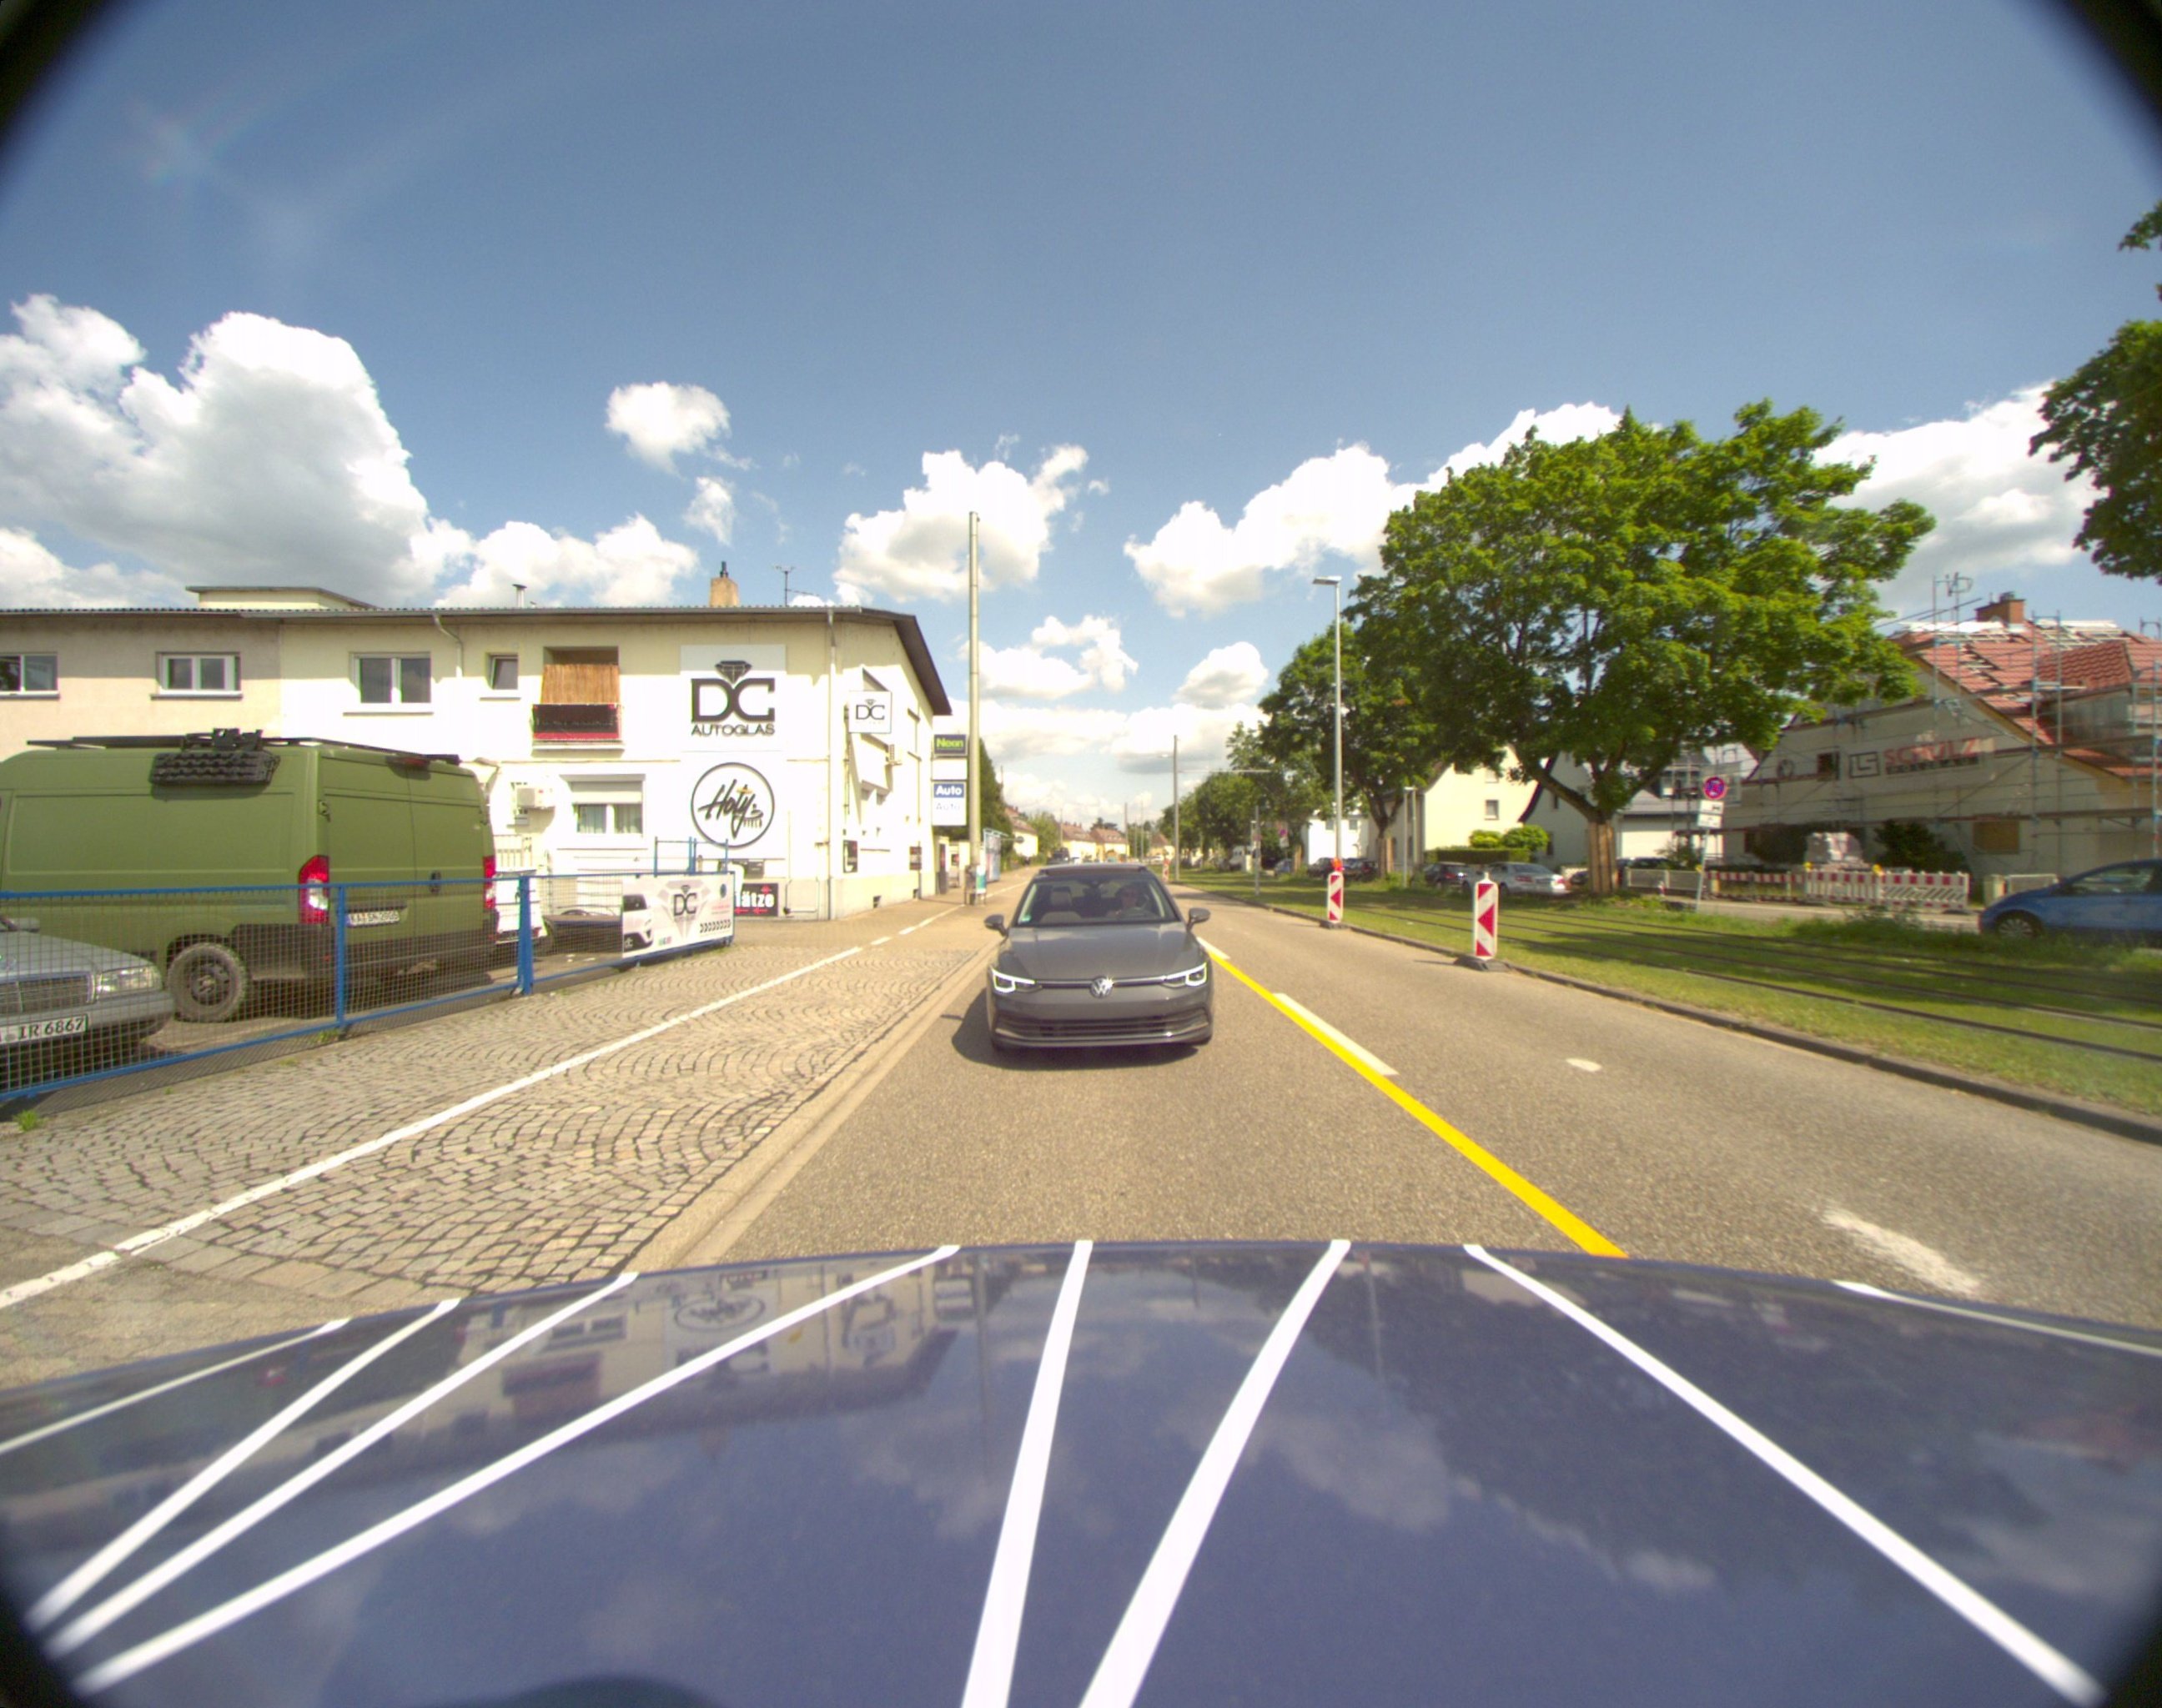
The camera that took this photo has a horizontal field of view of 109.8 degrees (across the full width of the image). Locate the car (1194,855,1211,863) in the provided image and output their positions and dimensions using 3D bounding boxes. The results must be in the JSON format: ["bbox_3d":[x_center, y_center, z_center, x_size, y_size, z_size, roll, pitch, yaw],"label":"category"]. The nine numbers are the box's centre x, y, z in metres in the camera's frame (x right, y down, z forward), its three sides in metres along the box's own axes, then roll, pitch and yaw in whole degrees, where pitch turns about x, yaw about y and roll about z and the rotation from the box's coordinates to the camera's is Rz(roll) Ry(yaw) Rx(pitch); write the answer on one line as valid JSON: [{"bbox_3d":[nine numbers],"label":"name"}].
[{"bbox_3d":[17.163,0.646,107.197,1.785,1.087,3.836,1,1,0],"label":"car"}]

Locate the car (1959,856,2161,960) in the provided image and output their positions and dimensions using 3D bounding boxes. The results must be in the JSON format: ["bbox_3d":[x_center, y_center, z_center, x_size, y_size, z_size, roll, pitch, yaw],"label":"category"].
[{"bbox_3d":[16.365,0.789,11.272,1.999,1.445,3.999,0,1,-1],"label":"car"}]

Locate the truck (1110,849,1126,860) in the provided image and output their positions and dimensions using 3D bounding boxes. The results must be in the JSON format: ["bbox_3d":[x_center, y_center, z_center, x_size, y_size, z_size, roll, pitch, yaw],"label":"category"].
[{"bbox_3d":[9.821,0.139,201.160,2.529,2.931,7.869,1,1,14],"label":"truck"}]

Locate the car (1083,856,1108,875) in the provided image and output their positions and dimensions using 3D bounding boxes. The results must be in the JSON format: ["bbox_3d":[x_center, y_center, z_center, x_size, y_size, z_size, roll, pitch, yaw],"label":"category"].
[{"bbox_3d":[1.241,0.952,64.616,1.998,1.566,4.001,0,0,3],"label":"car"}]

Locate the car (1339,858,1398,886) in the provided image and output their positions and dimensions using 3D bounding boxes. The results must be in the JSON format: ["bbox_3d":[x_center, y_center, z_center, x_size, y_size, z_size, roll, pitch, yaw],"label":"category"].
[{"bbox_3d":[16.920,1.025,44.933,1.998,1.430,3.999,1,1,0],"label":"car"}]

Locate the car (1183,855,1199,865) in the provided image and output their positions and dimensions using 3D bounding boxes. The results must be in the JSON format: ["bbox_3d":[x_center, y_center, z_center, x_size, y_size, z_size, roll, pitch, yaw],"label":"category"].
[{"bbox_3d":[17.775,1.001,122.856,1.910,1.568,4.102,3,-1,2],"label":"car"}]

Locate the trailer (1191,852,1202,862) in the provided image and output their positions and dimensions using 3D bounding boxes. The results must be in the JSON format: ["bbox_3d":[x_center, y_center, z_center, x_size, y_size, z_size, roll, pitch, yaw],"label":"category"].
[{"bbox_3d":[17.168,0.469,112.697,1.302,1.510,2.282,1,0,0],"label":"trailer"}]

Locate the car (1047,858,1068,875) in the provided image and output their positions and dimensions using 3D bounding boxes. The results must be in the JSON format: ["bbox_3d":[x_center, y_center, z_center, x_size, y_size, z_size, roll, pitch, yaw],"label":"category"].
[{"bbox_3d":[-2.179,1.126,71.068,1.655,1.423,4.096,1,1,2],"label":"car"}]

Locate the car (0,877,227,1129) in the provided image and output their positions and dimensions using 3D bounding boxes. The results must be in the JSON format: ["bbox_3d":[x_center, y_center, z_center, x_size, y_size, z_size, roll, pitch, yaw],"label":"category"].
[{"bbox_3d":[-8.374,0.894,4.851,4.191,1.423,1.821,0,1,8],"label":"car"}]

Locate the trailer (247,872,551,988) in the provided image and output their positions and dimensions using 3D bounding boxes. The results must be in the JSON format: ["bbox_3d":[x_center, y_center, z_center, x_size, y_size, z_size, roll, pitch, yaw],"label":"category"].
[{"bbox_3d":[-8.728,0.941,9.871,2.789,1.325,1.303,1,1,1],"label":"trailer"}]

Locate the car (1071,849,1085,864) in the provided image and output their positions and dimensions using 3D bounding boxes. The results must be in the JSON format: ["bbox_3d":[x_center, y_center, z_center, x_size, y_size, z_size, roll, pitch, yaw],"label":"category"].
[{"bbox_3d":[-0.472,0.406,136.343,1.923,2.522,5.346,1,0,5],"label":"car"}]

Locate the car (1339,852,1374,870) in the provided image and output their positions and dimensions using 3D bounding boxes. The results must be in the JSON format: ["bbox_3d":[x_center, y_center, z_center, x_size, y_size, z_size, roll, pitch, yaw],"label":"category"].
[{"bbox_3d":[25.422,0.640,70.246,1.907,1.568,4.000,1,1,1],"label":"car"}]

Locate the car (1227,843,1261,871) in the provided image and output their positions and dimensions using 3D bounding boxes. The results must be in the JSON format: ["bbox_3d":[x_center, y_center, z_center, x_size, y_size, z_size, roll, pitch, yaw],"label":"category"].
[{"bbox_3d":[16.814,0.294,78.566,1.999,2.714,6.461,1,0,-1],"label":"car"}]

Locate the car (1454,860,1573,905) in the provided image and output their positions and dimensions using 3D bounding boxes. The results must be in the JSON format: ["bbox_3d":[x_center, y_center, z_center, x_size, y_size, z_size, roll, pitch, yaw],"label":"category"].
[{"bbox_3d":[16.496,1.023,29.310,1.809,1.474,4.939,1,1,1],"label":"car"}]

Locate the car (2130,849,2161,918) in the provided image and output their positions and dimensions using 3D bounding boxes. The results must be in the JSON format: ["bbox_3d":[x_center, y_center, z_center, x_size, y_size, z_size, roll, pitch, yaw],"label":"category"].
[{"bbox_3d":[28.208,0.737,18.146,3.656,1.674,1.873,1,1,0],"label":"car"}]

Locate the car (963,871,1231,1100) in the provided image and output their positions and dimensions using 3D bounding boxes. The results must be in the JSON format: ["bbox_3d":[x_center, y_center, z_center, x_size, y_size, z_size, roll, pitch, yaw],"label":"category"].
[{"bbox_3d":[0.083,0.949,7.348,1.786,1.412,4.289,-2,0,-1],"label":"car"}]

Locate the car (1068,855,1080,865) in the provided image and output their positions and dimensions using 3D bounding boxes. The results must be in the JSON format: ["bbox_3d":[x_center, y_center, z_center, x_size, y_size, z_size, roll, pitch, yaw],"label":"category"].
[{"bbox_3d":[-1.161,0.942,123.275,1.756,1.480,4.627,1,0,1],"label":"car"}]

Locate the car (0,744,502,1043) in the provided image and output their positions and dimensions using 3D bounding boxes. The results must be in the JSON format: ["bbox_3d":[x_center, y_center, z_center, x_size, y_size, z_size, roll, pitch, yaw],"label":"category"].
[{"bbox_3d":[-8.928,0.335,7.657,4.547,2.558,2.151,0,1,2],"label":"car"}]

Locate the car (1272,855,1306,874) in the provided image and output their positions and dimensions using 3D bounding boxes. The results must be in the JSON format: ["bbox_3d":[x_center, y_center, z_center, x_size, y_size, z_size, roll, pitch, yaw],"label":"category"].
[{"bbox_3d":[16.645,0.809,60.938,1.758,1.427,3.889,1,1,3],"label":"car"}]

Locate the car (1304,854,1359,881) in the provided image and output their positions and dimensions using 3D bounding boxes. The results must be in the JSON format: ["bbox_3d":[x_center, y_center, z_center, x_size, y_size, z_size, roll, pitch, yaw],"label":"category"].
[{"bbox_3d":[16.711,0.855,50.899,1.999,1.681,4.390,0,1,-3],"label":"car"}]

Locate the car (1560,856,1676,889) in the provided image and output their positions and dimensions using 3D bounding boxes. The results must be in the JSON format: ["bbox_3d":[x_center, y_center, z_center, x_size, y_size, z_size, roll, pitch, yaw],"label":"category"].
[{"bbox_3d":[25.069,0.854,35.571,3.997,1.393,1.982,-1,1,1],"label":"car"}]

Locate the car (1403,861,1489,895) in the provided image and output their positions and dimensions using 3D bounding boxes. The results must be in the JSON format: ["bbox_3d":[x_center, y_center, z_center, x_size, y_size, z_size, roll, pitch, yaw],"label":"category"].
[{"bbox_3d":[16.541,1.041,34.656,1.998,1.310,3.852,2,1,0],"label":"car"}]

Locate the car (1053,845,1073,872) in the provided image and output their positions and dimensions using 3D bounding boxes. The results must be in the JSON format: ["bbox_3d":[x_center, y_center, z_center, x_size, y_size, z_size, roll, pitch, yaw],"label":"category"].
[{"bbox_3d":[-1.918,0.471,81.856,2.001,2.744,4.878,1,0,1],"label":"car"}]
